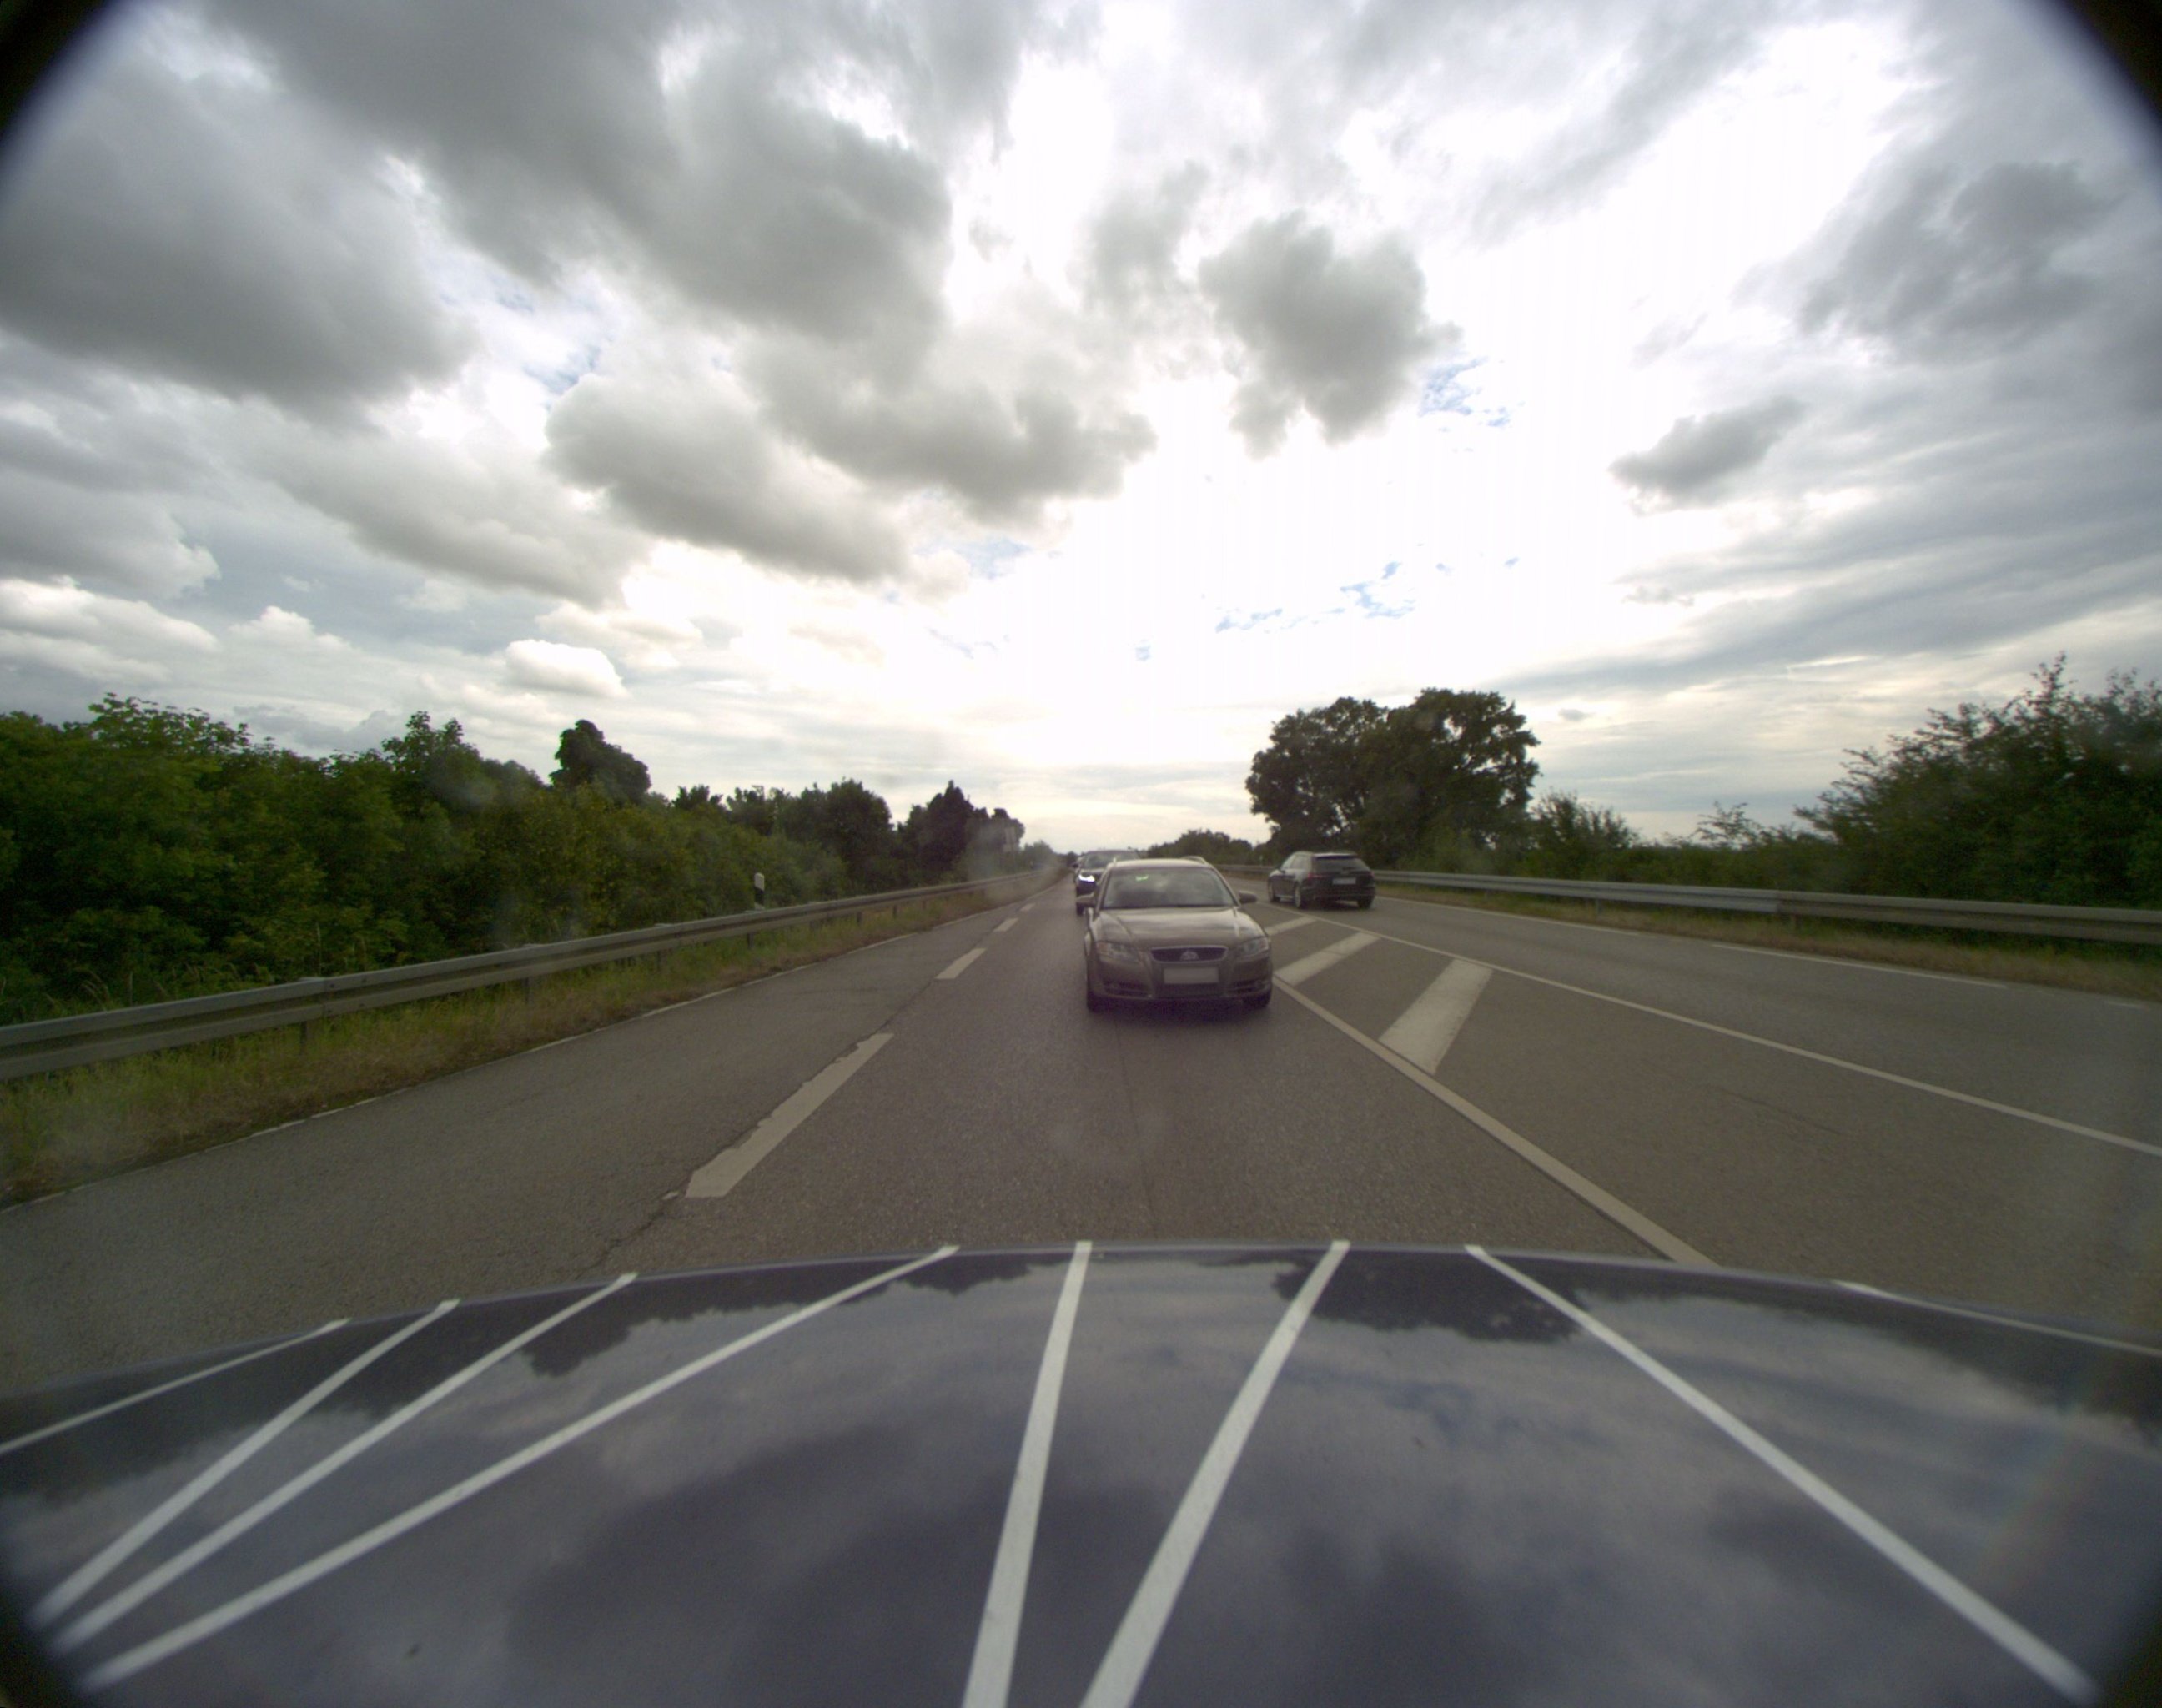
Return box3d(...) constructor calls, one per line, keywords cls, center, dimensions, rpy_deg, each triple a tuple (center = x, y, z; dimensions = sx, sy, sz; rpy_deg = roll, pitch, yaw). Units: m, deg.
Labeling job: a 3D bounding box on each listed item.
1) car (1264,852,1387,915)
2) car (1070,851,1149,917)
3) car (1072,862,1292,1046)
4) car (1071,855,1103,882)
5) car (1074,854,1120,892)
box3d(cls="car", center=(6.215, 0.683, 19.924), dimensions=(1.825, 1.366, 4.611), rpy_deg=(-1, 1, 1))
box3d(cls="car", center=(0.711, 0.725, 20.172), dimensions=(1.834, 1.537, 4.035), rpy_deg=(-1, 0, 1))
box3d(cls="car", center=(0.863, 0.849, 8.293), dimensions=(1.784, 1.442, 4.035), rpy_deg=(-1, 0, 1))
box3d(cls="car", center=(0.370, 0.854, 46.875), dimensions=(1.834, 1.537, 4.035), rpy_deg=(-1, 0, 1))
box3d(cls="car", center=(0.668, 0.776, 33.054), dimensions=(1.834, 1.537, 4.035), rpy_deg=(-1, 0, 1))
